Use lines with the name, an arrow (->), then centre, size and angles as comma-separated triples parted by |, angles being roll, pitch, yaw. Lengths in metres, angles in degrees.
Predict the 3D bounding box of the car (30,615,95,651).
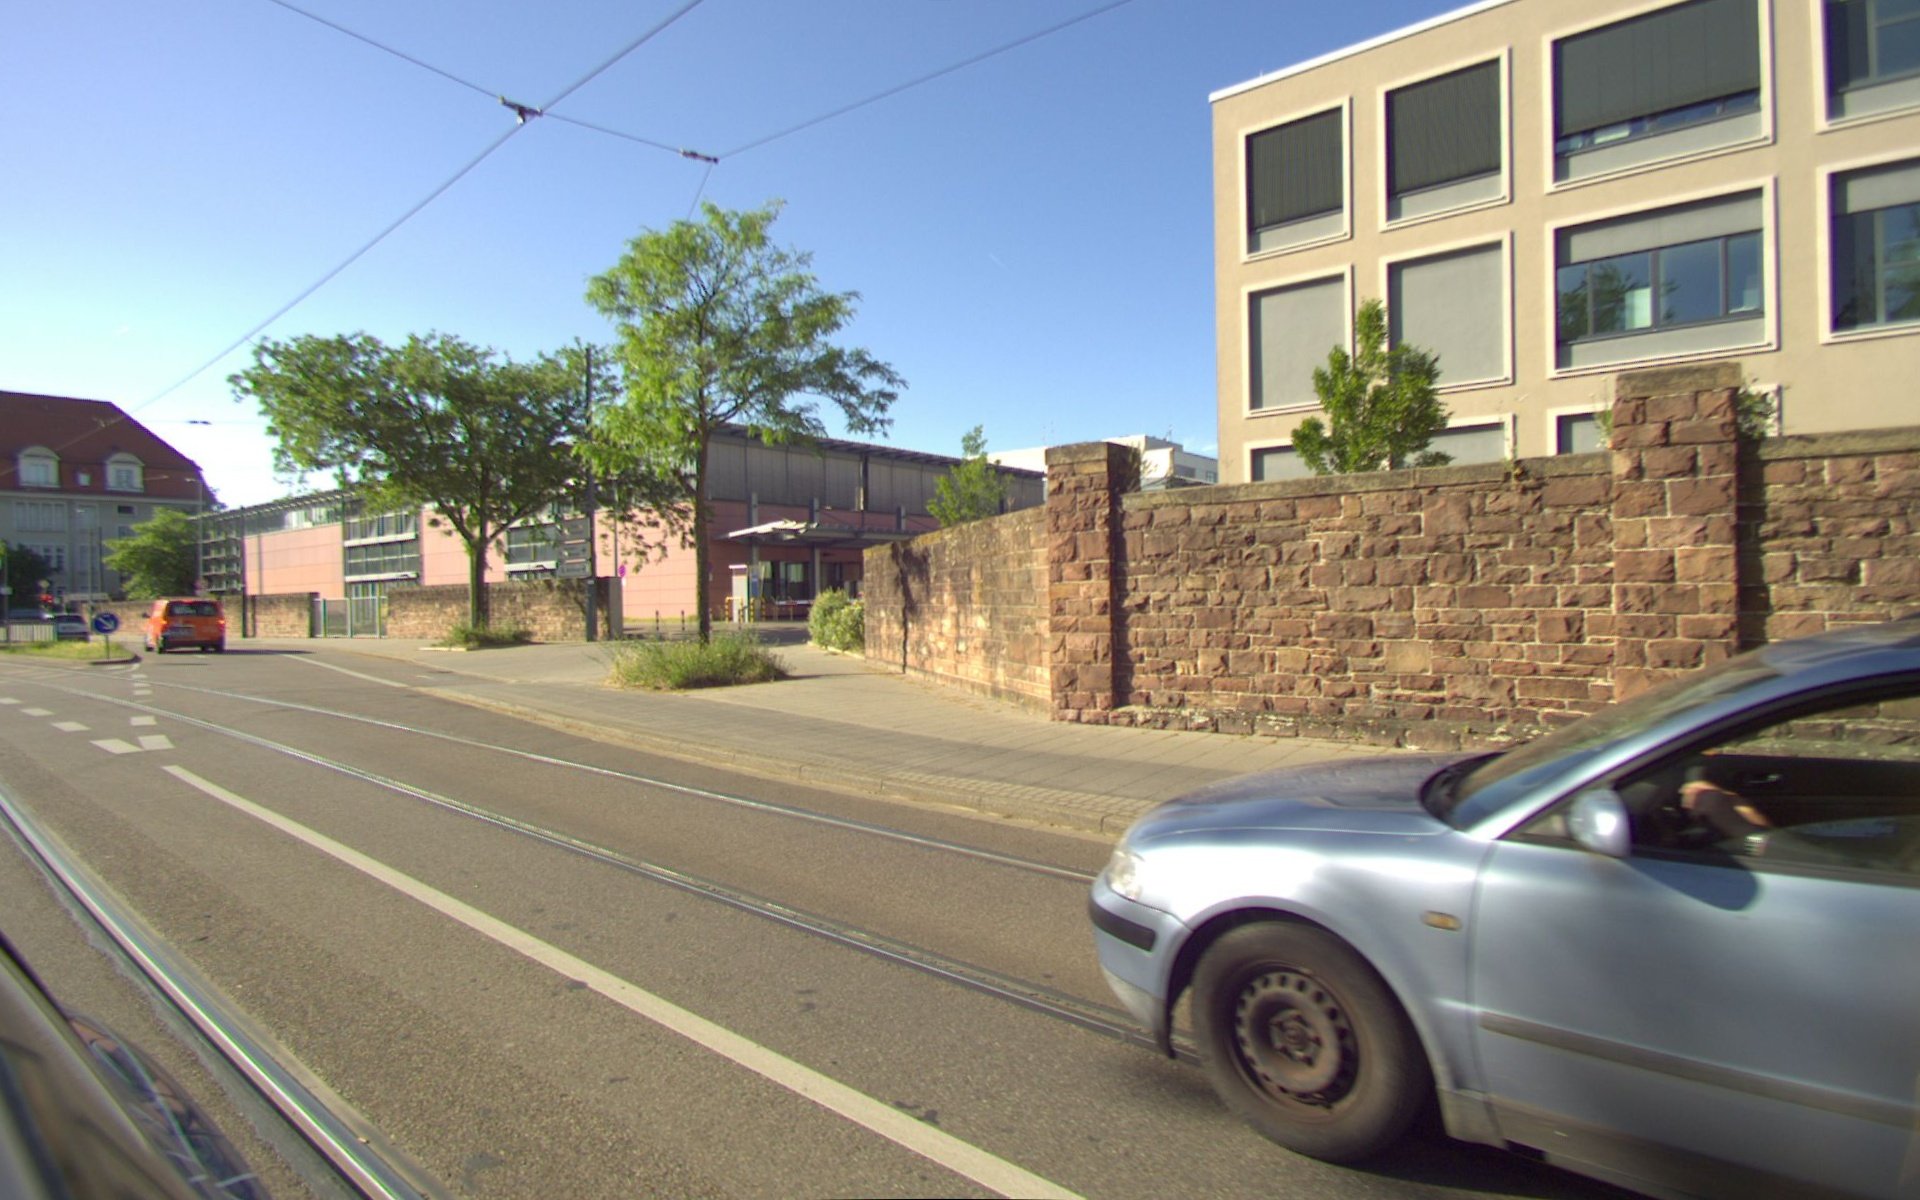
car -> -44.430, 1.617, 50.089 | 4.205, 1.676, 1.747 | -1, 0, 39

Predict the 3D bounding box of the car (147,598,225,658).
car -> -27.480, 0.958, 35.881 | 1.969, 1.980, 4.942 | -1, 0, -40

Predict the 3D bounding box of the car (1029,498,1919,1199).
car -> 2.584, 0.568, 2.249 | 4.577, 1.535, 1.973 | -1, 0, 41
